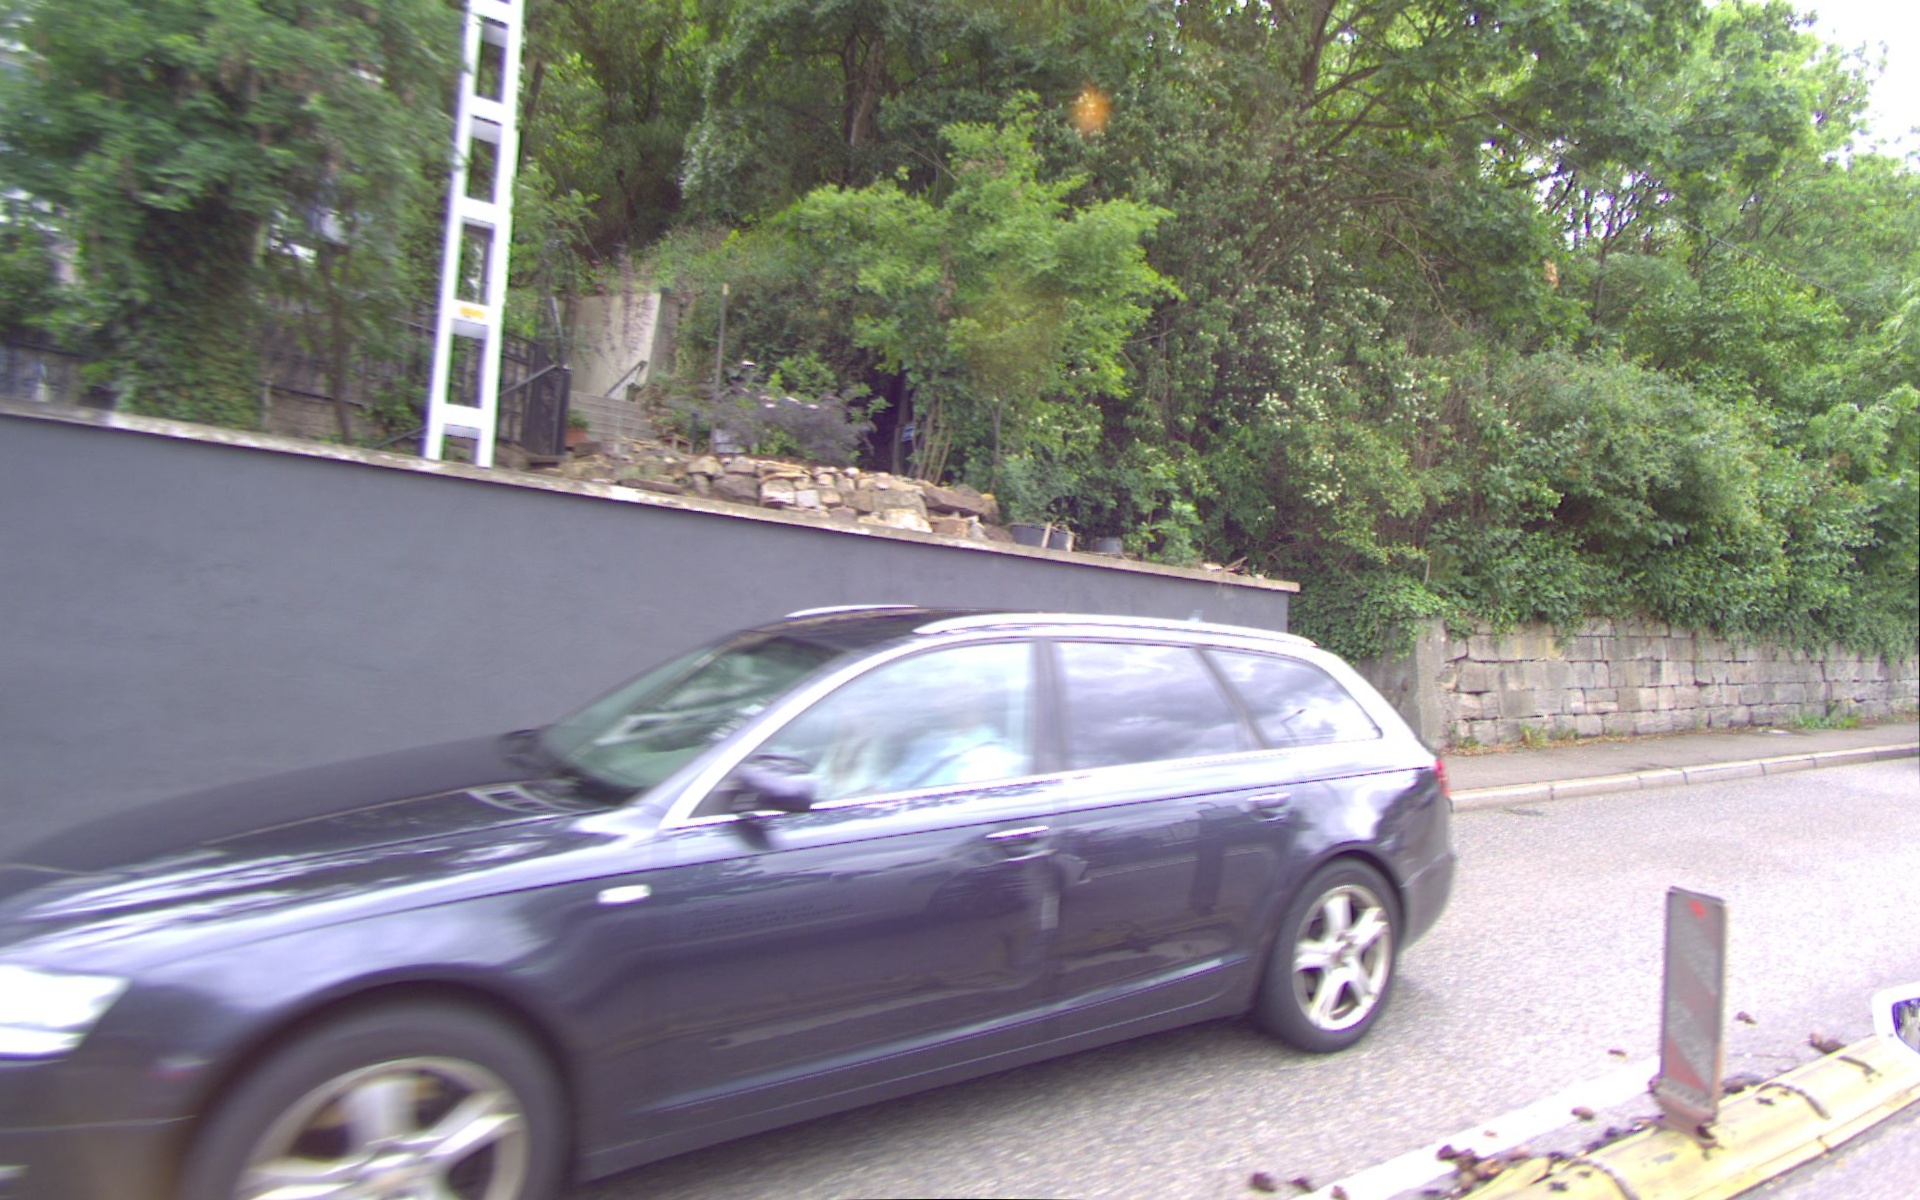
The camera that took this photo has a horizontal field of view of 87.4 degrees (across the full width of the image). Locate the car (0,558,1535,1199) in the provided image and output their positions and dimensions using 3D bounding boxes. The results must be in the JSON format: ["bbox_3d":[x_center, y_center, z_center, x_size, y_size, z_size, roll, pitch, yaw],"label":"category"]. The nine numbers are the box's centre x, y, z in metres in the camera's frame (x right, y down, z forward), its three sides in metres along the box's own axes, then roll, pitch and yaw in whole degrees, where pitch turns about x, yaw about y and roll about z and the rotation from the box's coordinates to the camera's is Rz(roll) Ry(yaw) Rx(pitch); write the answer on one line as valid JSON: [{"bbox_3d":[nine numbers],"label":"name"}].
[{"bbox_3d":[-0.177,0.721,3.476,4.457,1.484,1.782,2,0,-30],"label":"car"}]

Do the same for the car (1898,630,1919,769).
[{"bbox_3d":[12.680,1.164,11.373,4.267,1.505,1.820,2,0,-30],"label":"car"}]
